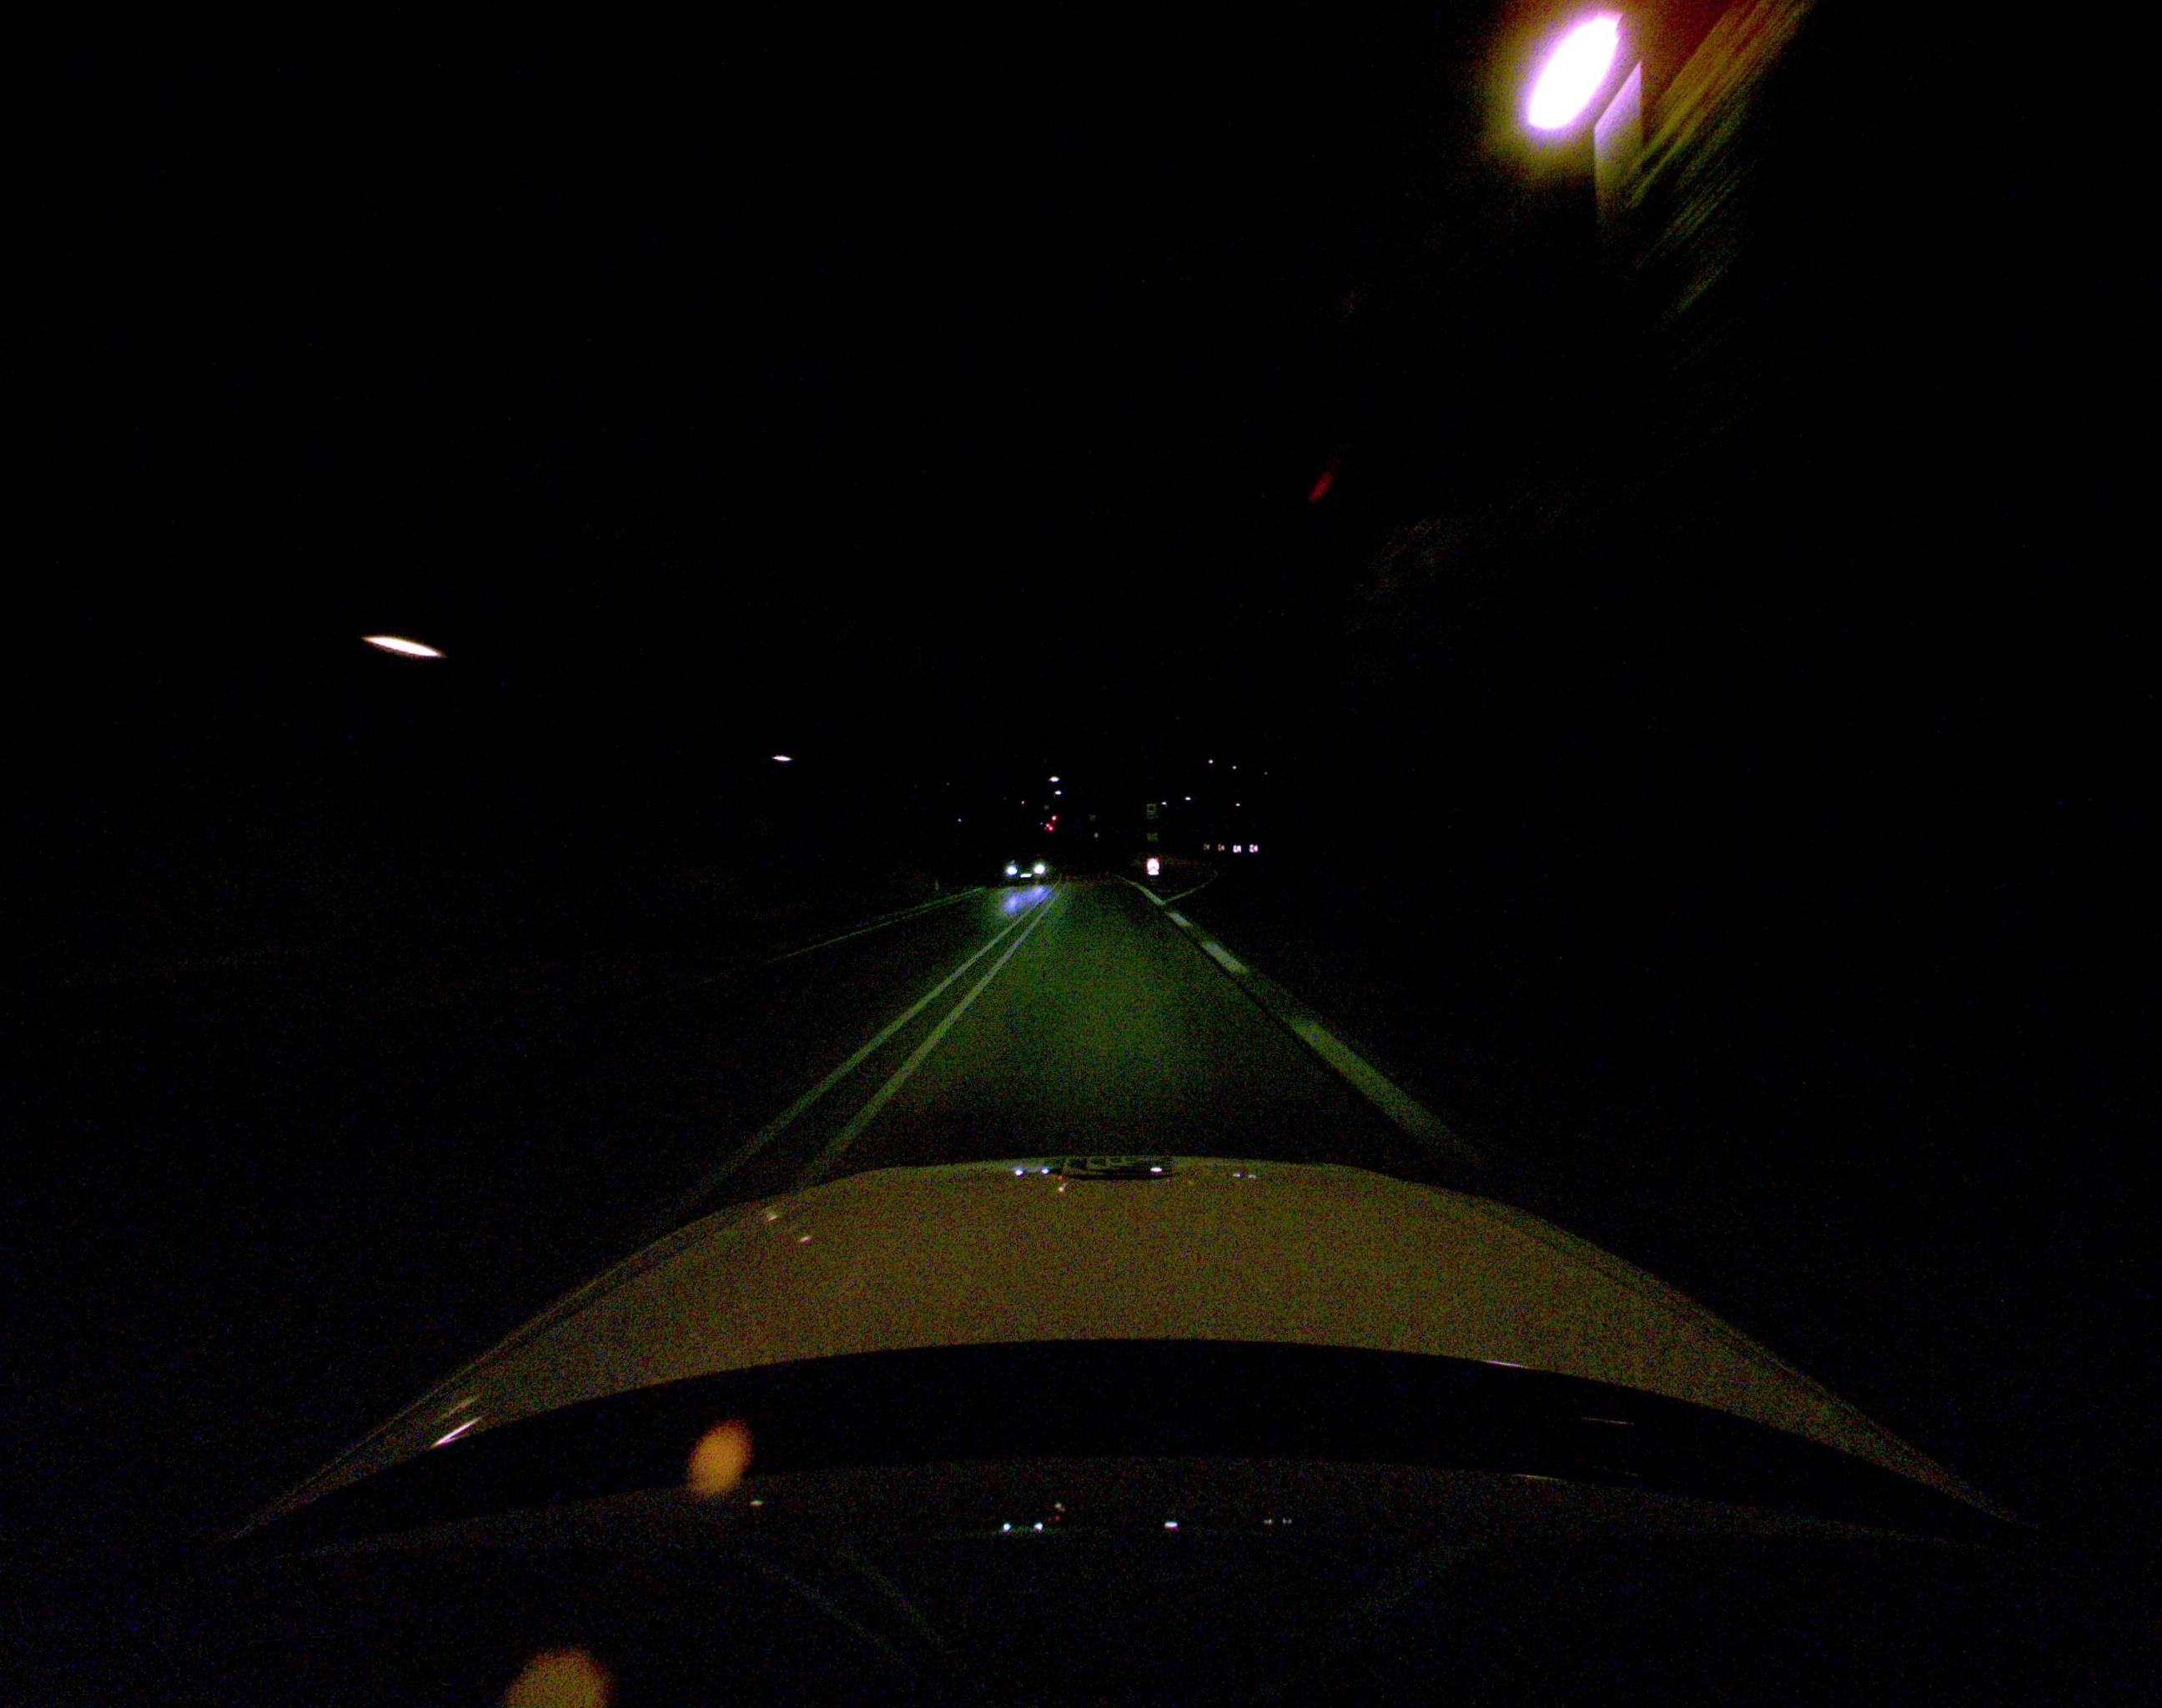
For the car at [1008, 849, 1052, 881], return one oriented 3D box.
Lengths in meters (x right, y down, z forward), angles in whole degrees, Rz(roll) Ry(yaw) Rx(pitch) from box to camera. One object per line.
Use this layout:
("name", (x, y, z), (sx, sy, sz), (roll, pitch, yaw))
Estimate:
("car", (-2.734, 0.597, 44.534), (1.874, 1.554, 4.221), (-2, -1, 3))
